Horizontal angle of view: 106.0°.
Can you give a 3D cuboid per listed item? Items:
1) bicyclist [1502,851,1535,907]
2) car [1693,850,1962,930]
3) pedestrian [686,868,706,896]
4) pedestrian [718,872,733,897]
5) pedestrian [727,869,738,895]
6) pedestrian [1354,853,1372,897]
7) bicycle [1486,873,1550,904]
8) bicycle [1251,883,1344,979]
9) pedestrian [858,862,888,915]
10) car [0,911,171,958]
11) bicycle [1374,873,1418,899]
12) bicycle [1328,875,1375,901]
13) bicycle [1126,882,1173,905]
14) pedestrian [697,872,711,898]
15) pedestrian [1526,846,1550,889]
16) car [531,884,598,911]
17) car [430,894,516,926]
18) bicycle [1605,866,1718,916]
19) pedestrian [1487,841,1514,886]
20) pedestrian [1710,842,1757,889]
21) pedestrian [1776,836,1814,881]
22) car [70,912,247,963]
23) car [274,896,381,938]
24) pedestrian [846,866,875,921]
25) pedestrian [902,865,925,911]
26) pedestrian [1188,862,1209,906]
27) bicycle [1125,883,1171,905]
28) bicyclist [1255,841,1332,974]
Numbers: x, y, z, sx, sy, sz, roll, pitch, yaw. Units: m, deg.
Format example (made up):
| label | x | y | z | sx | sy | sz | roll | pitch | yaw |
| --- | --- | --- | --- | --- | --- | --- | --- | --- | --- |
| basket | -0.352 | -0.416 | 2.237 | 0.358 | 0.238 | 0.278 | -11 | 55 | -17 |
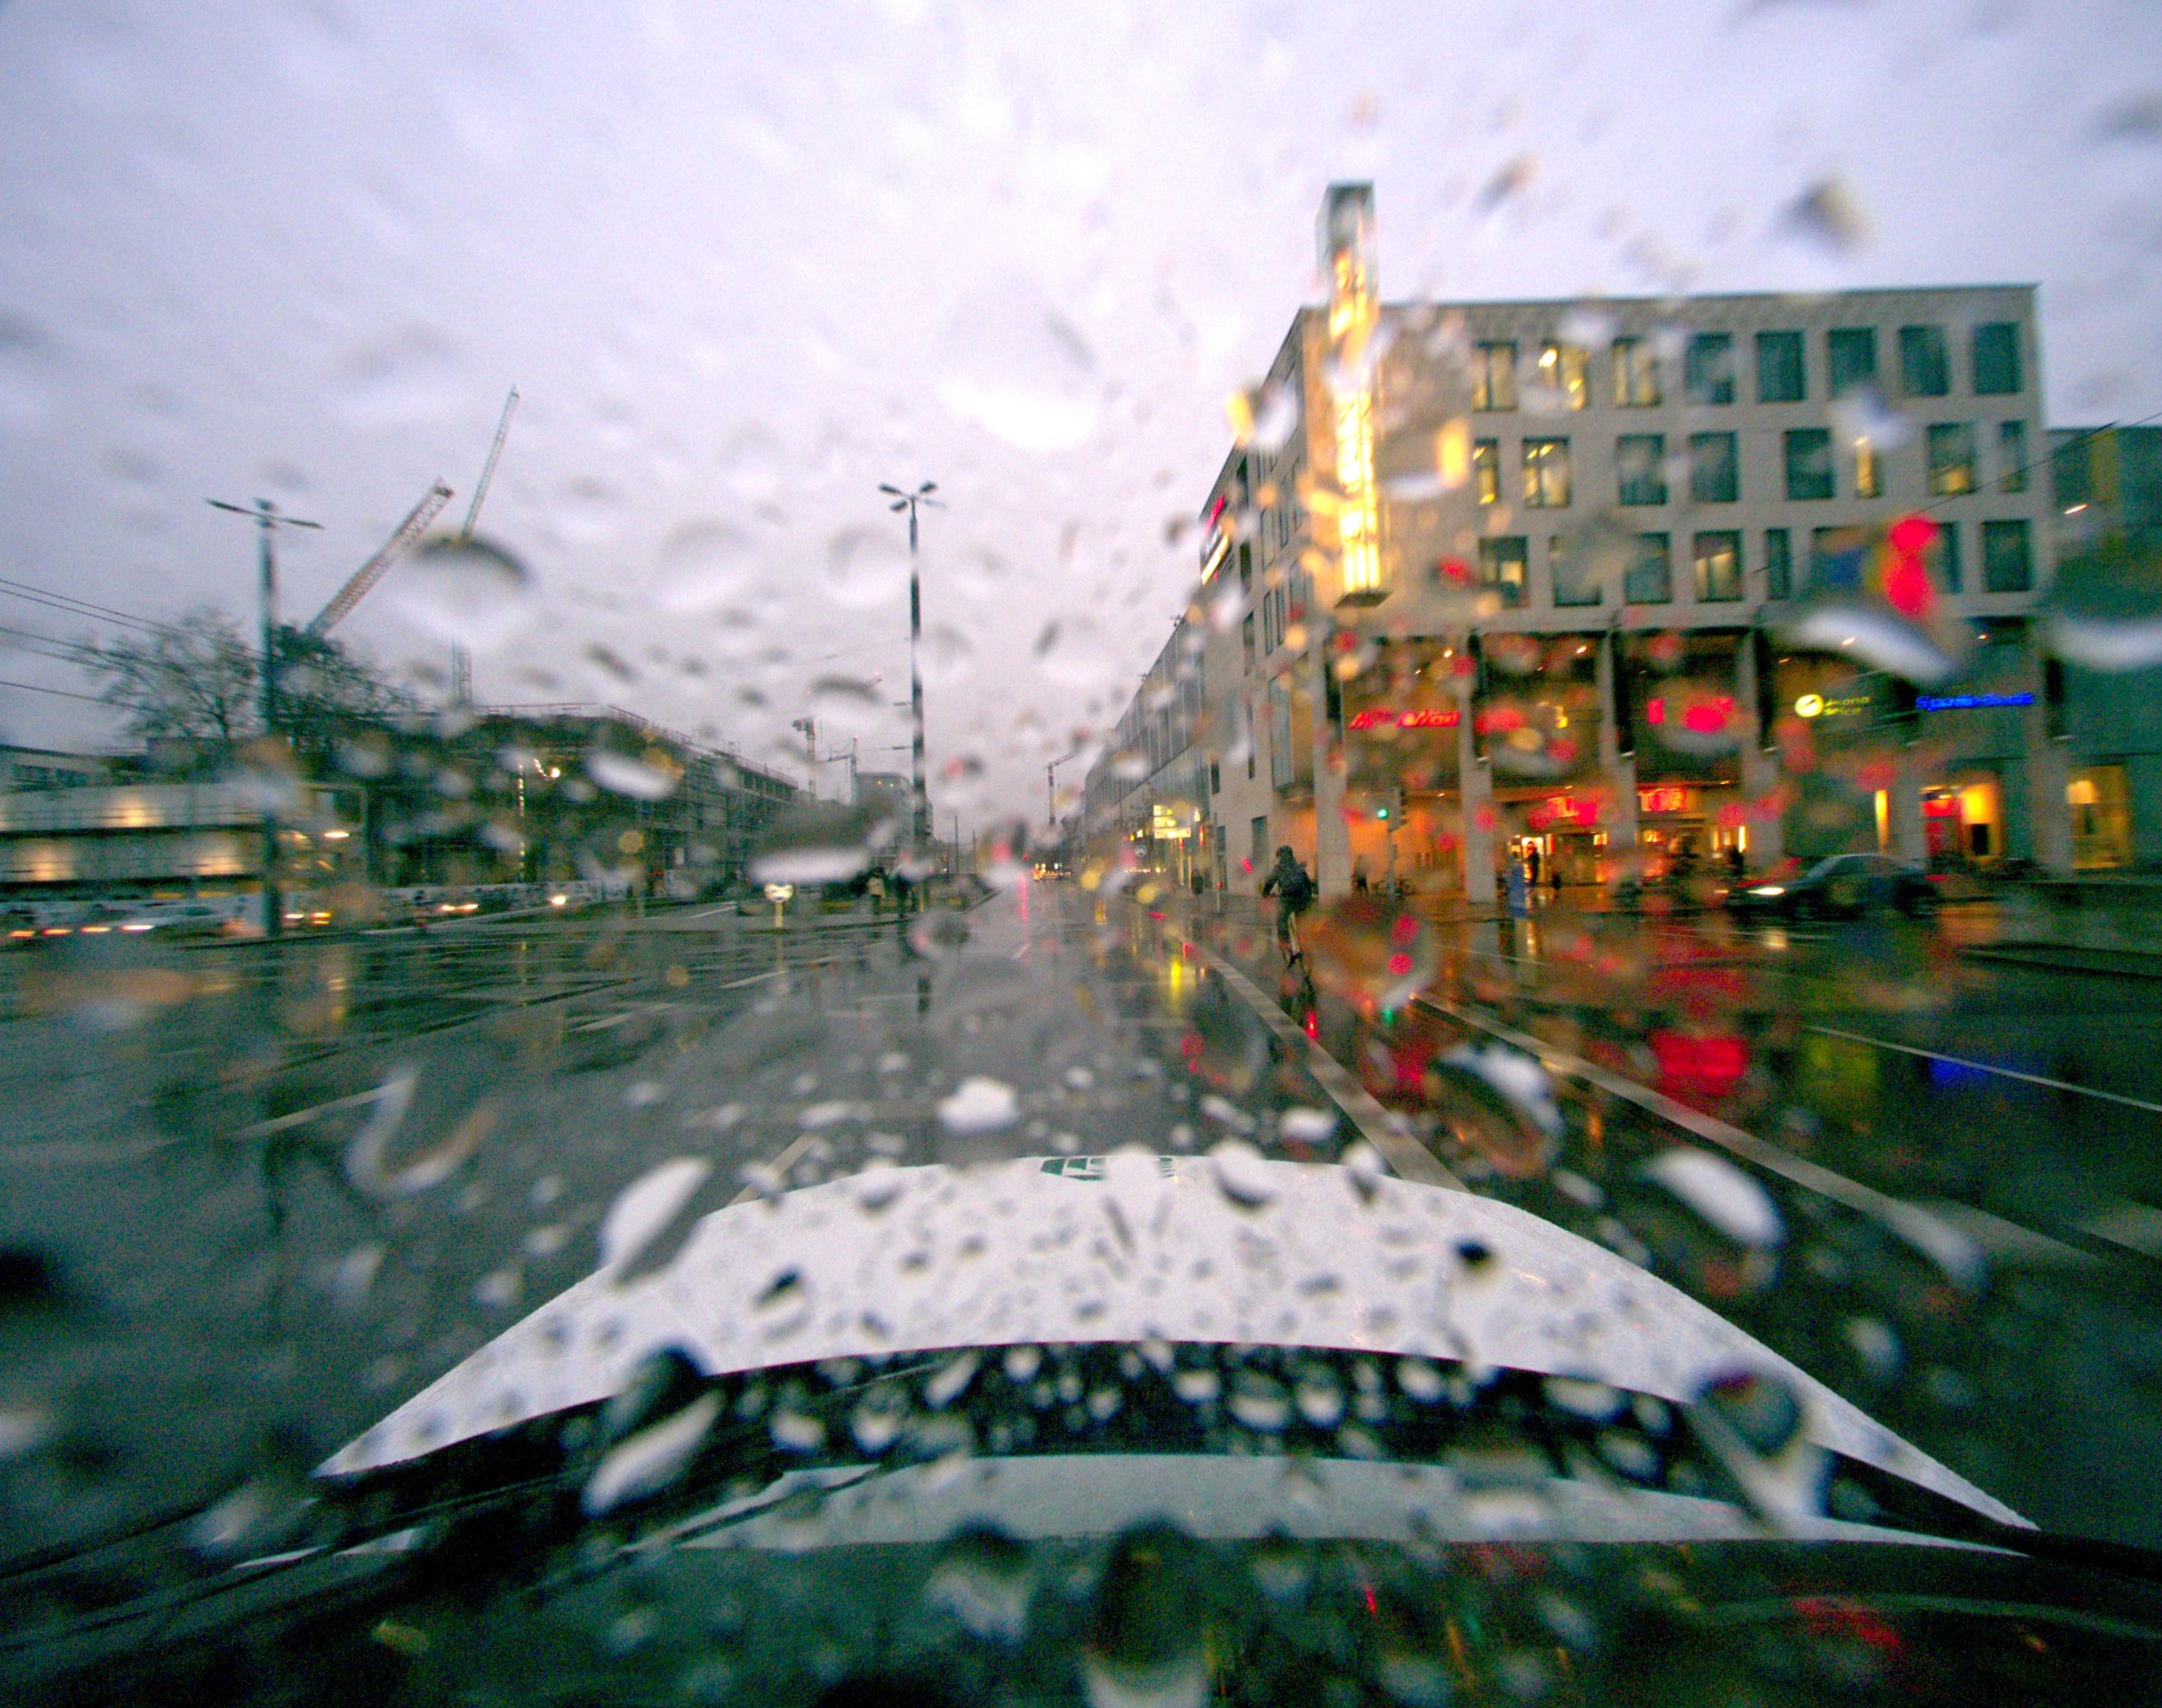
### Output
| label | x | y | z | sx | sy | sz | roll | pitch | yaw |
| --- | --- | --- | --- | --- | --- | --- | --- | --- | --- |
| bicyclist | 16.321 | 0.928 | 30.405 | 0.914 | 2.014 | 0.912 | -2 | -1 | 22 |
| car | 16.141 | 0.773 | 17.800 | 3.971 | 1.618 | 2.001 | 0 | -2 | 2 |
| pedestrian | -27.480 | 1.996 | 58.123 | 0.940 | 2.014 | 1.092 | 0 | -2 | -4 |
| pedestrian | -26.853 | 2.291 | 61.523 | 0.763 | 1.898 | 0.762 | 0 | -3 | -1 |
| pedestrian | -26.849 | 2.151 | 62.756 | 0.569 | 1.968 | 0.664 | 1 | -2 | -7 |
| pedestrian | 11.334 | 0.839 | 32.749 | 0.596 | 1.745 | 0.526 | -1 | -2 | 7 |
| bicycle | 16.289 | 1.298 | 30.409 | 1.944 | 1.086 | 0.931 | -2 | -1 | 20 |
| bicycle | 2.799 | 0.957 | 10.723 | 0.706 | 1.094 | 1.783 | -1 | -1 | -1 |
| pedestrian | -7.417 | 1.223 | 29.018 | 0.827 | 1.832 | 0.778 | 1 | -2 | -31 |
| car | -40.300 | 3.206 | 33.100 | 1.991 | 1.530 | 4.326 | -2 | -1 | -7 |
| bicycle | 13.025 | 1.321 | 33.669 | 1.643 | 1.070 | 0.524 | 0 | -2 | -5 |
| bicycle | 11.136 | 1.401 | 33.554 | 1.767 | 1.070 | 0.523 | 0 | -2 | -9 |
| bicycle | 3.726 | 2.162 | 44.398 | 2.436 | 1.154 | 0.673 | -2 | -2 | -2 |
| pedestrian | -27.416 | 2.221 | 59.222 | 0.696 | 1.881 | 0.553 | 0 | -2 | -2 |
| pedestrian | 18.800 | 0.572 | 33.529 | 0.728 | 1.718 | 0.743 | -3 | -2 | 26 |
| car | -37.320 | 3.135 | 58.968 | 1.984 | 1.791 | 4.006 | -1 | -1 | 6 |
| car | -37.388 | 3.389 | 50.213 | 1.984 | 1.791 | 4.006 | -1 | -1 | 6 |
| bicycle | 17.171 | 1.087 | 24.110 | 2.708 | 1.359 | 0.956 | -2 | -2 | -5 |
| pedestrian | 19.172 | 0.438 | 37.271 | 0.842 | 2.014 | 0.699 | -2 | -1 | 8 |
| pedestrian | 23.433 | 0.414 | 29.260 | 1.027 | 1.684 | 0.823 | 0 | -2 | -1 |
| pedestrian | 27.269 | 0.188 | 31.093 | 0.891 | 1.684 | 0.528 | -2 | -2 | -1 |
| car | -35.450 | 3.141 | 31.522 | 2.076 | 1.530 | 4.599 | -2 | -1 | -10 |
| car | -37.233 | 3.072 | 40.387 | 1.864 | 1.828 | 3.989 | 0 | -1 | -8 |
| pedestrian | -8.132 | 1.440 | 29.988 | 0.776 | 2.014 | 0.732 | -2 | -2 | 41 |
| pedestrian | -6.172 | 1.246 | 29.938 | 0.605 | 1.686 | 0.582 | -2 | -2 | 41 |
| pedestrian | 4.609 | 1.172 | 31.941 | 0.635 | 1.709 | 0.573 | -2 | -2 | -2 |
| bicycle | 3.704 | 2.224 | 45.150 | 2.419 | 1.099 | 0.711 | -2 | -2 | -3 |
| bicyclist | 2.782 | 0.676 | 10.747 | 0.701 | 1.660 | 0.964 | -2 | -1 | -1 |
